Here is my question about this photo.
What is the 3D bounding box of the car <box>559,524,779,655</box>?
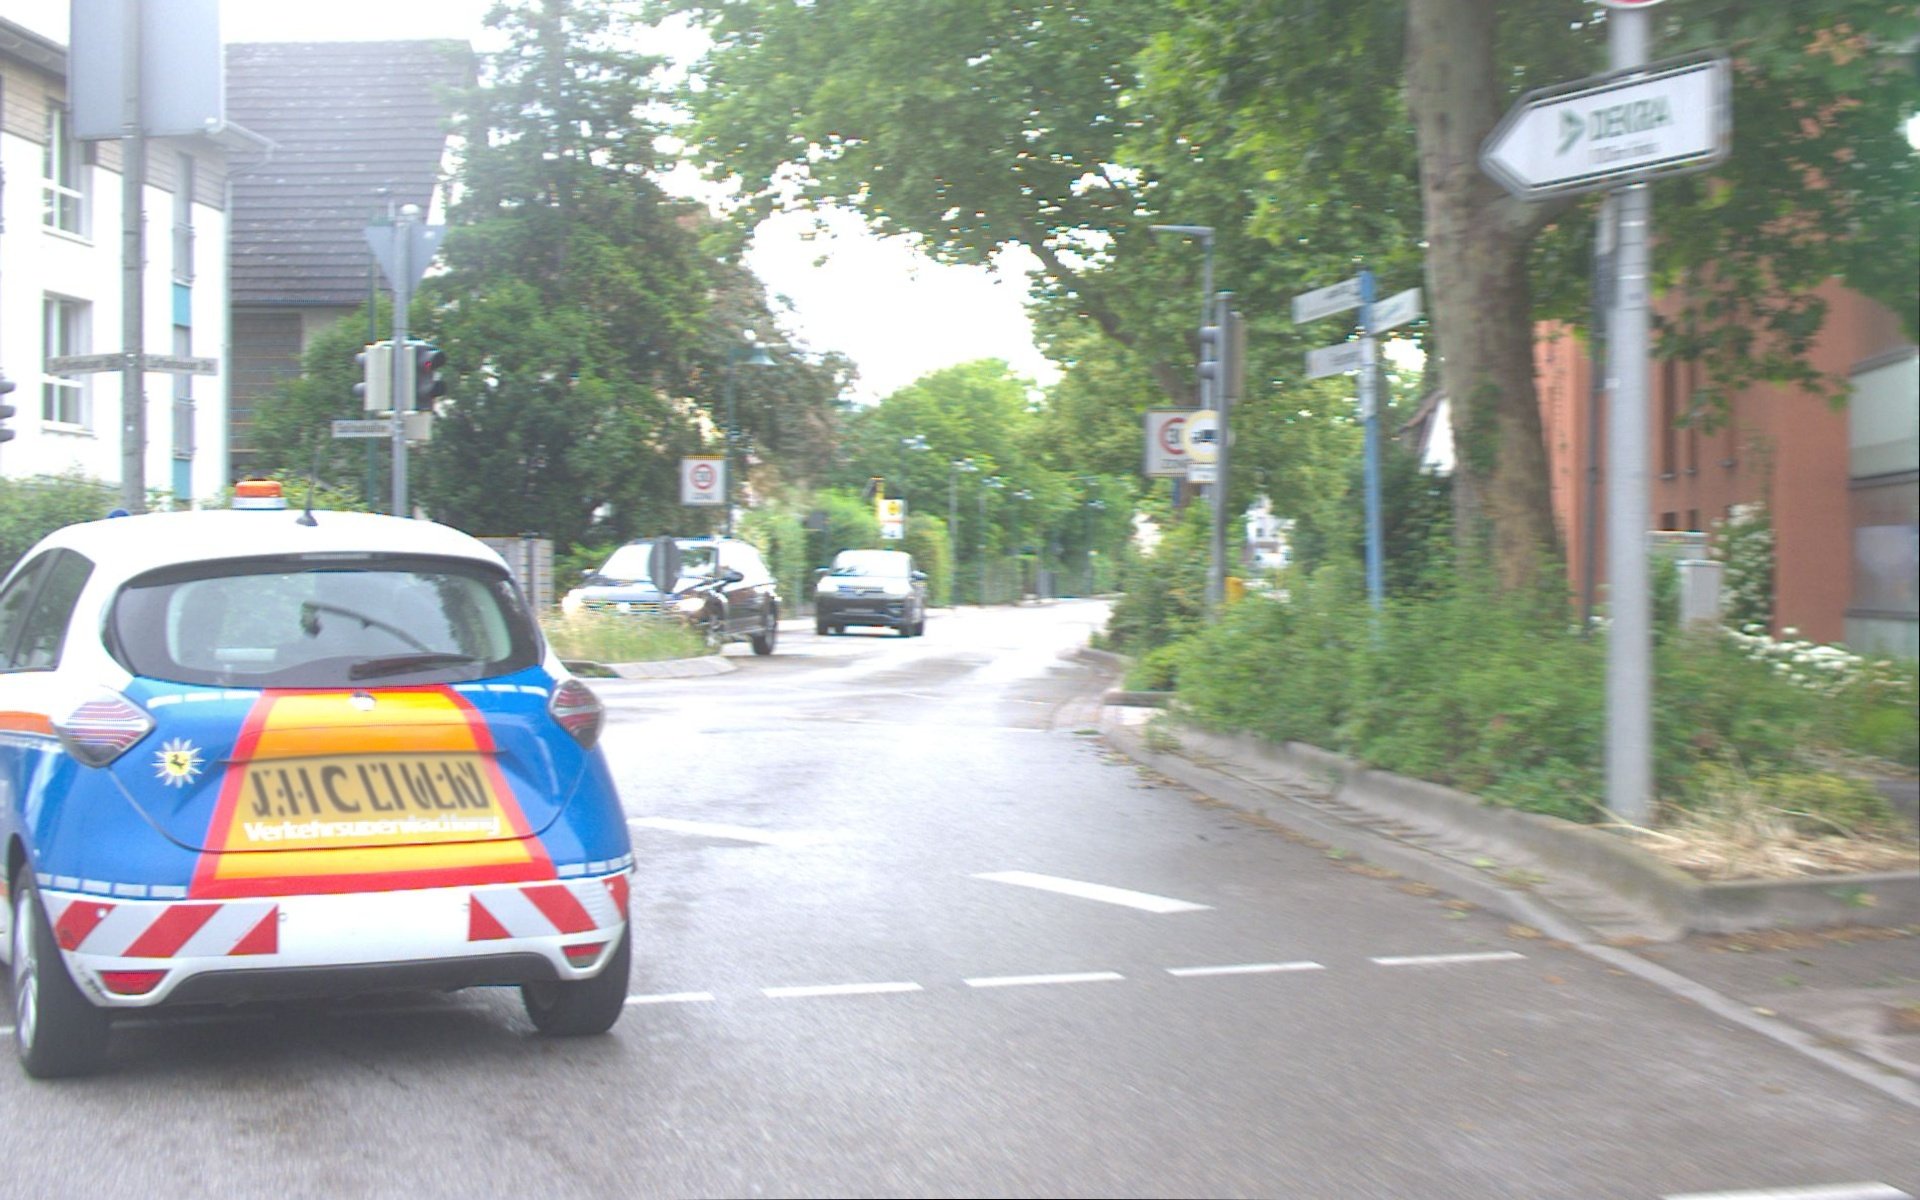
[{"bbox_3d":[-3.488,-0.135,41.999,1.942,1.447,4.299,2,0,5],"label":"car"}]

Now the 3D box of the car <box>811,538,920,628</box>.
[{"bbox_3d":[-1.810,-0.352,66.587,1.877,1.663,3.714,1,1,2],"label":"car"}]

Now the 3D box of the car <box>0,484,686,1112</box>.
[{"bbox_3d":[-2.330,0.446,10.848,1.745,1.575,4.001,-1,2,-23],"label":"car"}]

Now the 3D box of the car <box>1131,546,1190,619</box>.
[{"bbox_3d":[5.841,-0.534,99.826,1.644,2.010,3.715,1,2,4],"label":"car"}]
